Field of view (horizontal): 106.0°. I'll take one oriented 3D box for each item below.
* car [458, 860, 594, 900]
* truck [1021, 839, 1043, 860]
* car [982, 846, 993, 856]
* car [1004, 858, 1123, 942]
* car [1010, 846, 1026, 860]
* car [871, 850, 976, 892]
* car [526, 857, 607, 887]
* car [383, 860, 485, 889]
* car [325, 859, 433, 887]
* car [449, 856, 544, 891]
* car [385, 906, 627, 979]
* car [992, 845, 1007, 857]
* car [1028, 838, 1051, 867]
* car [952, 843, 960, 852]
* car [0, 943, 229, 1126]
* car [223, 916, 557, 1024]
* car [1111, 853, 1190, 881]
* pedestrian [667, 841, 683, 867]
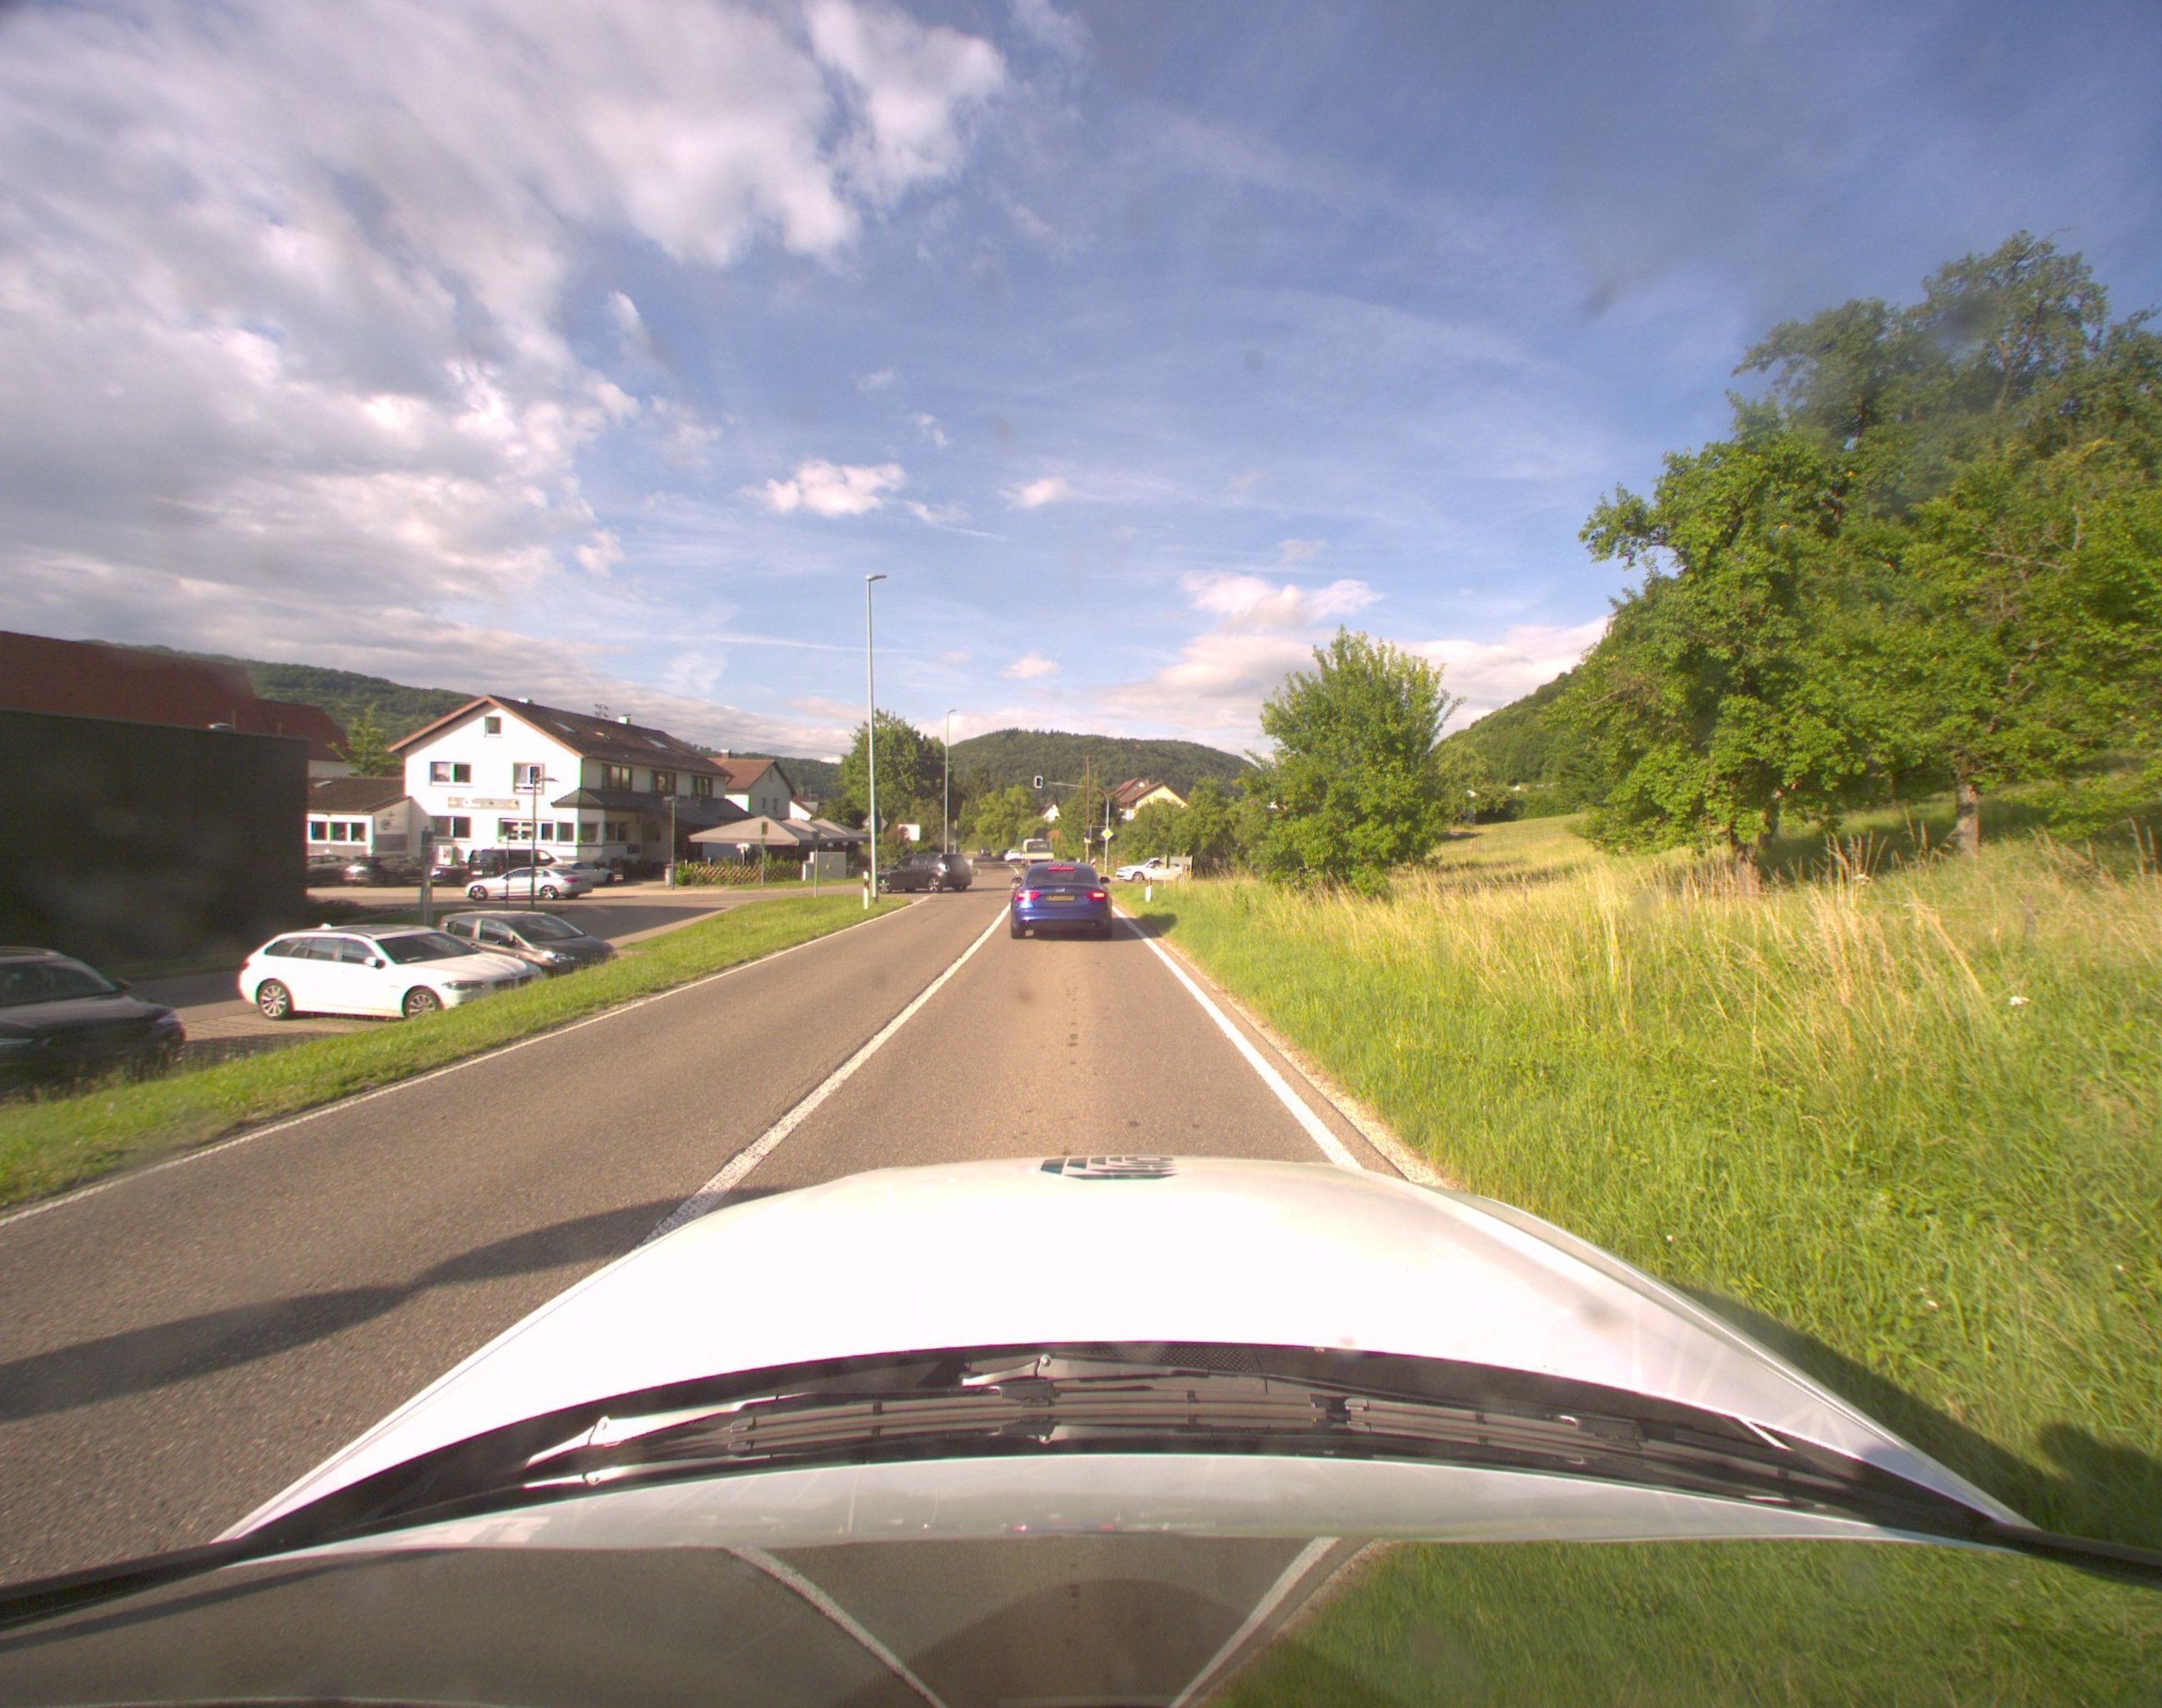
[{"bbox_3d":[-23.627,1.073,34.807,4.440,1.639,1.808,0,-1,-4],"label":"car"},{"bbox_3d":[-4.712,-0.389,78.009,1.696,1.953,5.906,0,-1,-8],"label":"truck"},{"bbox_3d":[-14.597,-0.493,127.189,1.695,1.490,3.520,0,-1,-6],"label":"car"},{"bbox_3d":[-0.200,0.797,15.668,1.786,1.388,4.006,-1,-1,6],"label":"car"},{"bbox_3d":[-7.401,-0.110,95.286,1.696,1.490,3.517,0,-1,-8],"label":"car"},{"bbox_3d":[-6.479,0.679,33.427,3.950,1.639,1.762,-1,-1,26],"label":"car"},{"bbox_3d":[-26.322,0.908,41.848,1.550,1.450,4.001,0,-1,1],"label":"car"},{"bbox_3d":[-32.009,0.973,40.457,1.835,1.354,4.000,0,-1,0],"label":"car"},{"bbox_3d":[-34.837,0.928,40.567,1.835,1.354,4.000,0,-1,0],"label":"car"},{"bbox_3d":[-29.492,0.966,41.261,1.880,1.662,4.001,0,-1,1],"label":"car"},{"bbox_3d":[-11.853,1.781,16.918,3.963,1.310,1.765,0,-1,9],"label":"car"},{"bbox_3d":[-10.624,-0.374,106.066,1.698,1.490,3.513,0,-1,-11],"label":"car"},{"bbox_3d":[-3.284,-0.073,64.252,1.742,2.195,3.996,0,-1,-3],"label":"car"},{"bbox_3d":[-24.668,-1.271,160.883,1.625,1.576,3.668,0,-1,-8],"label":"car"},{"bbox_3d":[-12.908,2.007,9.699,3.997,1.637,2.007,0,-1,13],"label":"car"},{"bbox_3d":[-11.866,1.912,14.084,4.780,1.493,1.888,0,-1,13],"label":"car"},{"bbox_3d":[3.907,0.715,45.832,4.053,1.508,1.845,0,-1,-17],"label":"car"},{"bbox_3d":[-23.635,0.016,47.417,0.606,1.503,0.590,0,-1,1],"label":"pedestrian"}]
